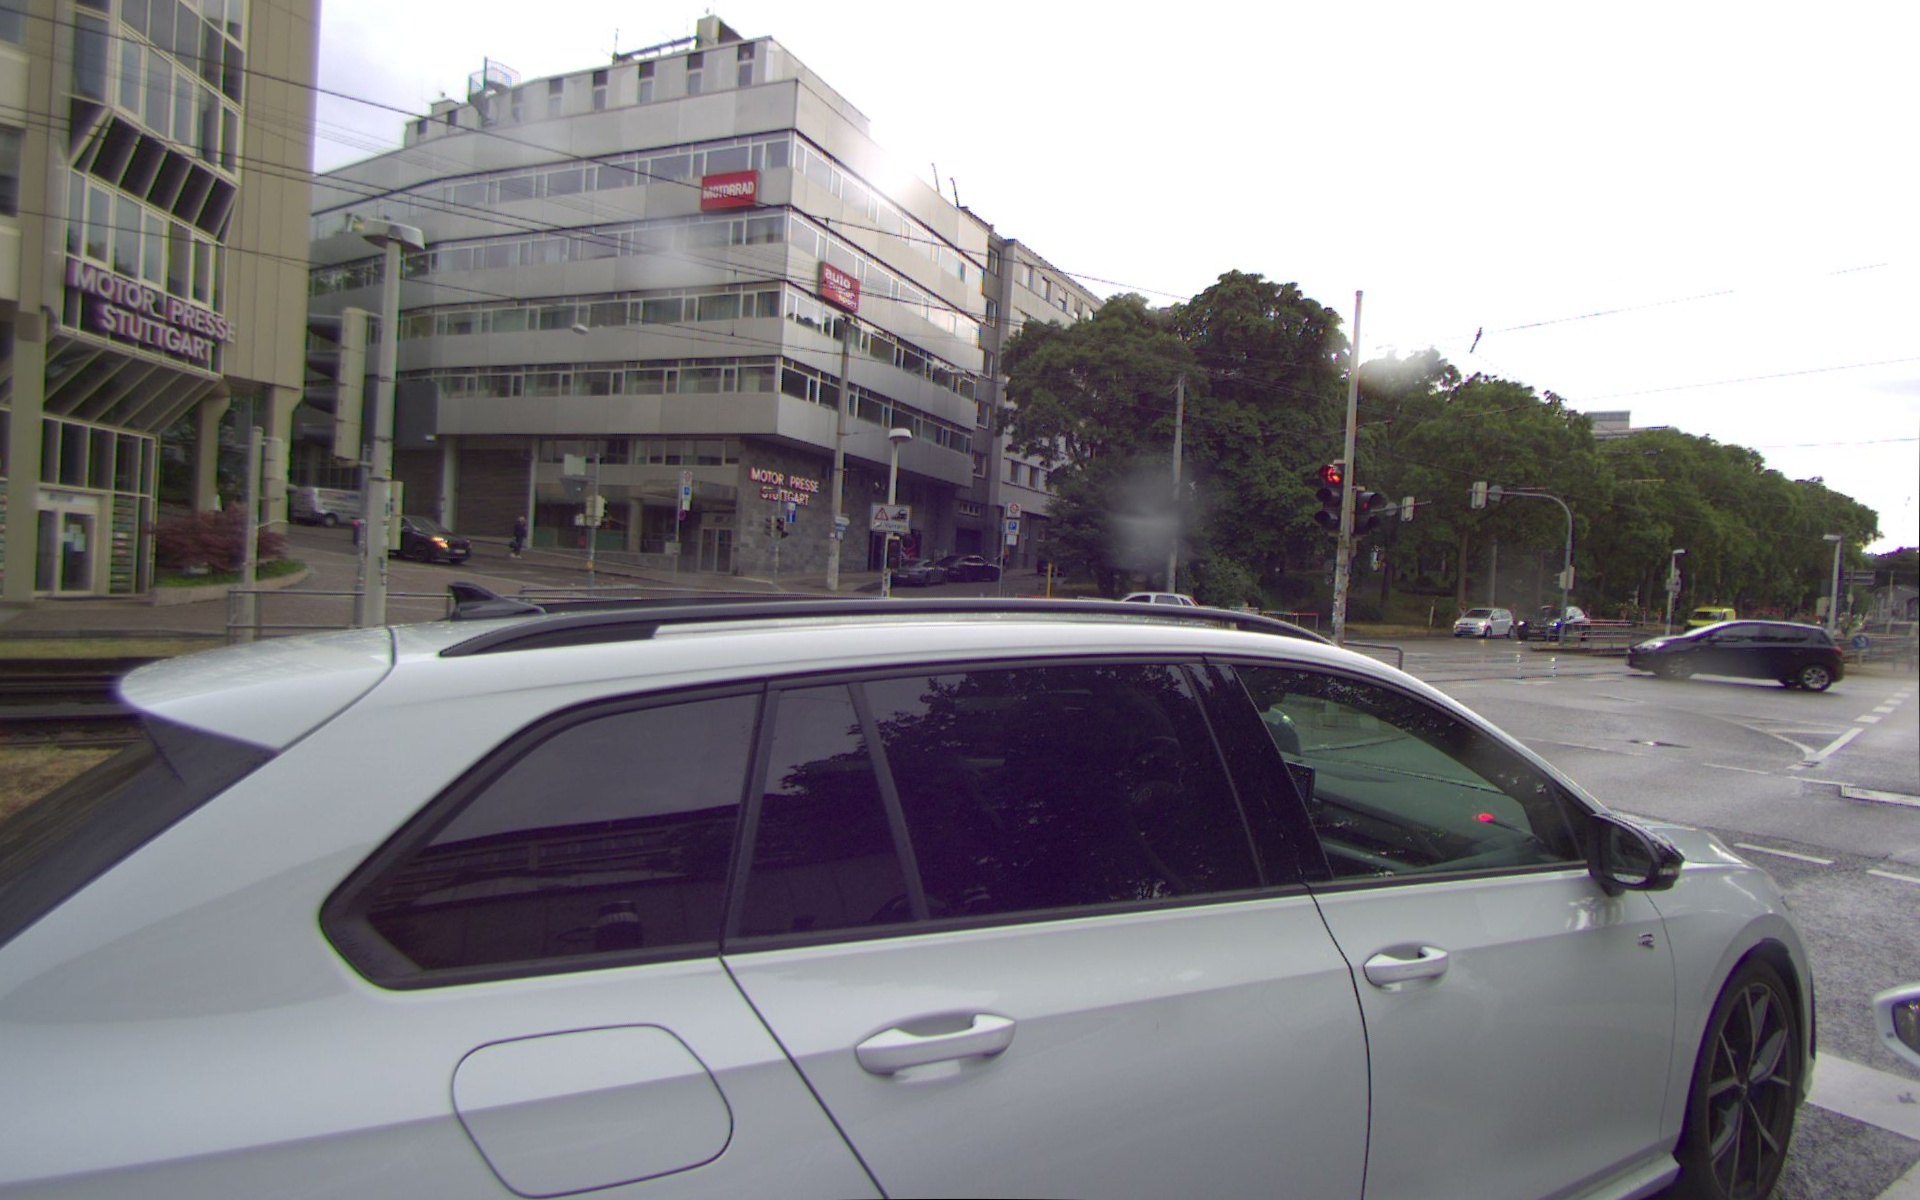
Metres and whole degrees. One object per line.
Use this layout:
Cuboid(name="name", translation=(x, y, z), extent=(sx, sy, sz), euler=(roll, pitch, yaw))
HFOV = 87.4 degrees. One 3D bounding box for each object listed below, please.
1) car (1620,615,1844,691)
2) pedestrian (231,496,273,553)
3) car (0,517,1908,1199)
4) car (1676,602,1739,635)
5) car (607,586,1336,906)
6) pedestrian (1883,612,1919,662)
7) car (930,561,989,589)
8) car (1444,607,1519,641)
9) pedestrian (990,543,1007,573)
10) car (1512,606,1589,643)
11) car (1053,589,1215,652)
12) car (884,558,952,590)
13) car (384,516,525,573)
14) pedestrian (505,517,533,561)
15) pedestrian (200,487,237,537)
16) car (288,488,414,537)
Cuboid(name="car", translation=(17.677, 1.163, 23.237), extent=(3.801, 1.375, 1.630), euler=(4, 2, 28))
Cuboid(name="pedestrian", translation=(-23.474, -2.501, 33.290), extent=(0.746, 1.811, 0.830), euler=(5, 2, 25))
Cuboid(name="car", translation=(0.302, 0.706, 2.478), extent=(4.423, 1.461, 1.787), euler=(2, 0, -30))
Cuboid(name="car", translation=(46.201, 1.145, 62.093), extent=(4.525, 1.875, 1.905), euler=(2, 1, -38))
Cuboid(name="car", translation=(0.199, 0.722, 6.491), extent=(4.423, 1.461, 1.787), euler=(2, 0, -30))
Cuboid(name="pedestrian", translation=(35.502, 1.388, 37.802), extent=(0.863, 1.826, 0.860), euler=(1, 2, -33))
Cuboid(name="car", translation=(0.035, -1.356, 55.589), extent=(1.842, 1.450, 3.998), euler=(3, 2, 22))
Cuboid(name="car", translation=(26.067, 1.211, 50.189), extent=(3.648, 1.566, 1.905), euler=(2, 1, -37))
Cuboid(name="pedestrian", translation=(2.462, -2.647, 63.548), extent=(0.707, 1.886, 0.758), euler=(5, 4, 31))
Cuboid(name="car", translation=(28.136, 1.171, 47.849), extent=(3.648, 1.566, 1.905), euler=(2, 1, -37))
Cuboid(name="car", translation=(4.398, 0.501, 25.801), extent=(3.796, 1.375, 1.632), euler=(3, 2, -2))
Cuboid(name="car", translation=(-2.056, -1.296, 50.615), extent=(1.842, 1.450, 4.091), euler=(3, 2, 22))
Cuboid(name="car", translation=(-18.777, -2.062, 37.318), extent=(4.794, 1.601, 1.999), euler=(7, 3, 23))
Cuboid(name="pedestrian", translation=(-19.948, -2.763, 45.414), extent=(0.833, 1.886, 0.719), euler=(5, 2, 25))
Cuboid(name="pedestrian", translation=(-25.871, -3.066, 35.051), extent=(0.746, 1.661, 0.719), euler=(5, 2, 25))
Cuboid(name="car", translation=(-32.027, -4.544, 53.000), extent=(1.964, 2.040, 5.403), euler=(2, 0, 30))
